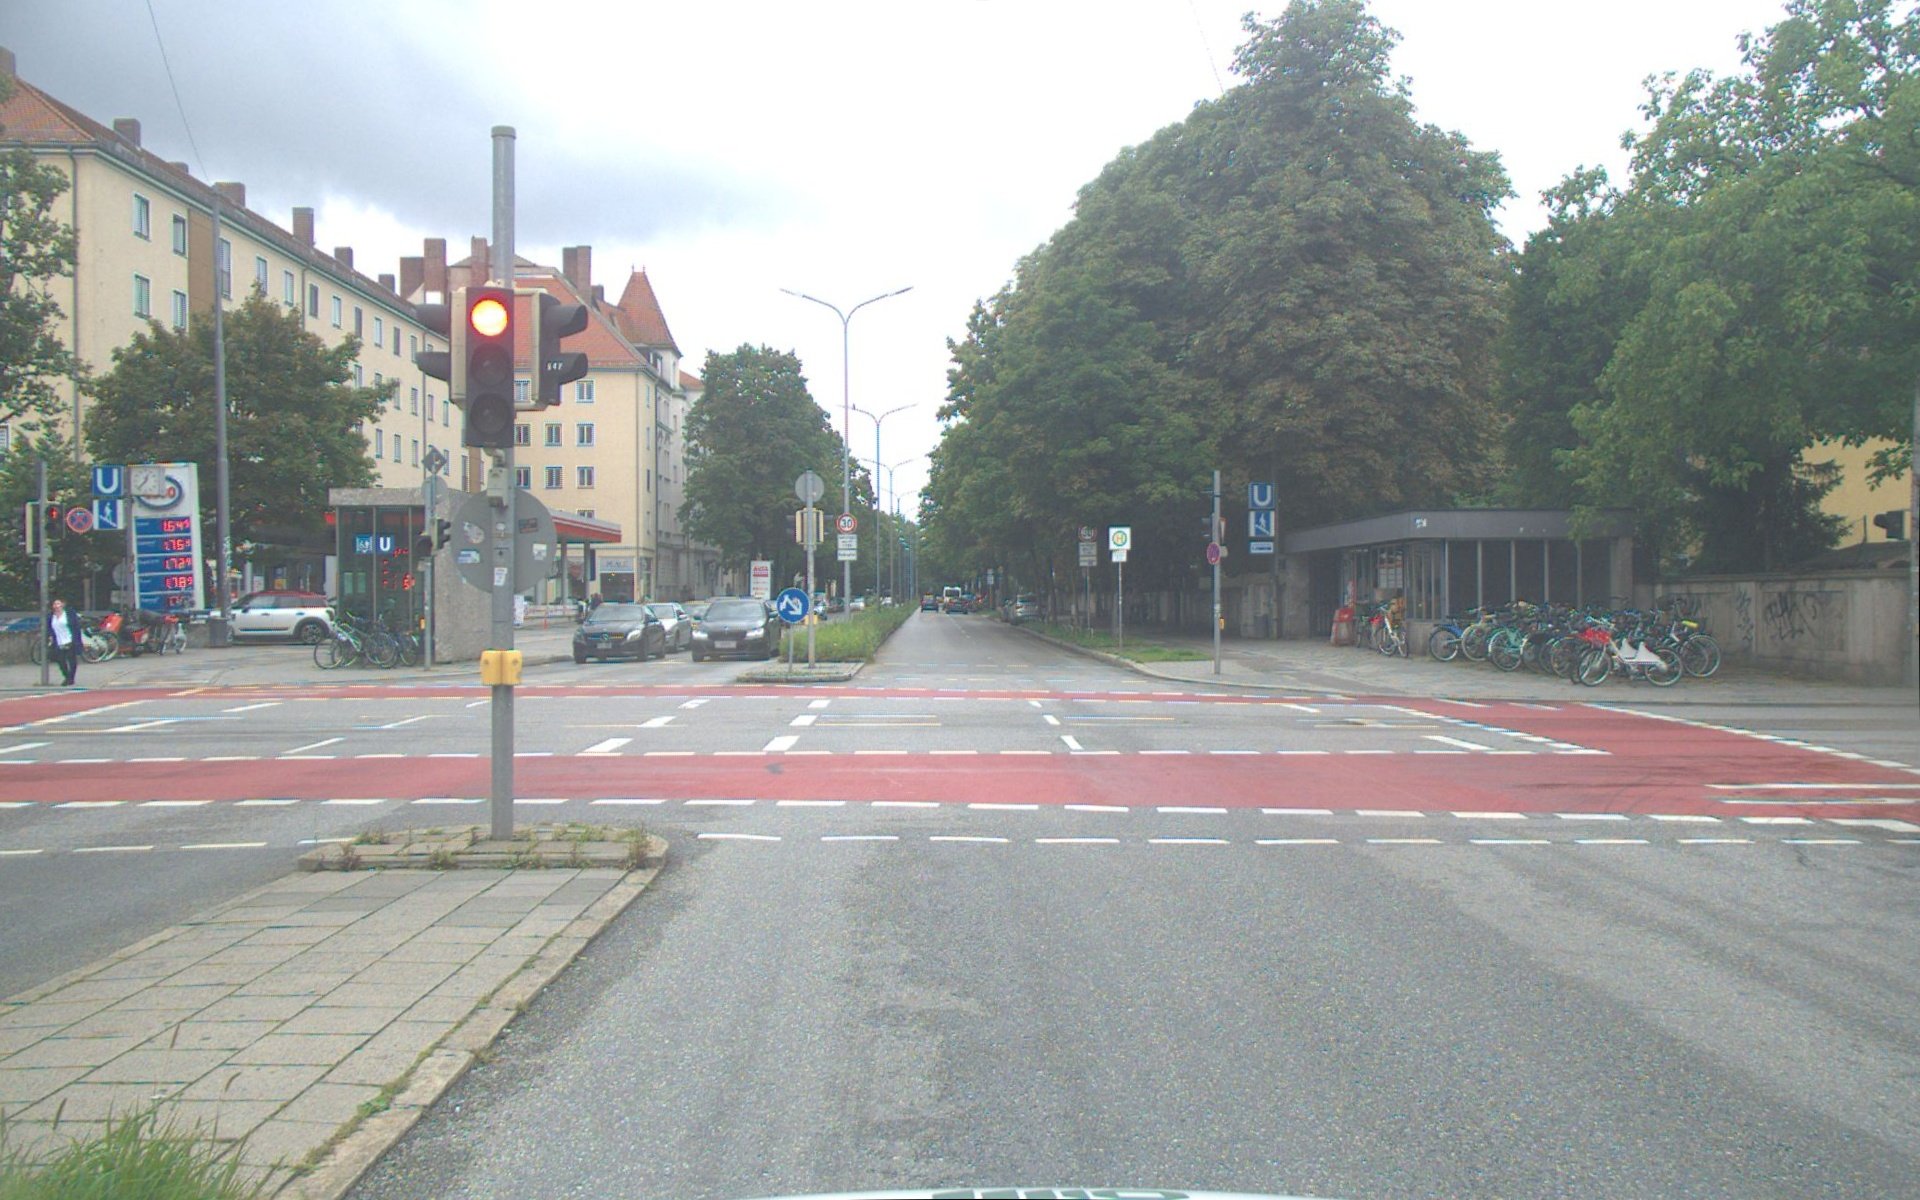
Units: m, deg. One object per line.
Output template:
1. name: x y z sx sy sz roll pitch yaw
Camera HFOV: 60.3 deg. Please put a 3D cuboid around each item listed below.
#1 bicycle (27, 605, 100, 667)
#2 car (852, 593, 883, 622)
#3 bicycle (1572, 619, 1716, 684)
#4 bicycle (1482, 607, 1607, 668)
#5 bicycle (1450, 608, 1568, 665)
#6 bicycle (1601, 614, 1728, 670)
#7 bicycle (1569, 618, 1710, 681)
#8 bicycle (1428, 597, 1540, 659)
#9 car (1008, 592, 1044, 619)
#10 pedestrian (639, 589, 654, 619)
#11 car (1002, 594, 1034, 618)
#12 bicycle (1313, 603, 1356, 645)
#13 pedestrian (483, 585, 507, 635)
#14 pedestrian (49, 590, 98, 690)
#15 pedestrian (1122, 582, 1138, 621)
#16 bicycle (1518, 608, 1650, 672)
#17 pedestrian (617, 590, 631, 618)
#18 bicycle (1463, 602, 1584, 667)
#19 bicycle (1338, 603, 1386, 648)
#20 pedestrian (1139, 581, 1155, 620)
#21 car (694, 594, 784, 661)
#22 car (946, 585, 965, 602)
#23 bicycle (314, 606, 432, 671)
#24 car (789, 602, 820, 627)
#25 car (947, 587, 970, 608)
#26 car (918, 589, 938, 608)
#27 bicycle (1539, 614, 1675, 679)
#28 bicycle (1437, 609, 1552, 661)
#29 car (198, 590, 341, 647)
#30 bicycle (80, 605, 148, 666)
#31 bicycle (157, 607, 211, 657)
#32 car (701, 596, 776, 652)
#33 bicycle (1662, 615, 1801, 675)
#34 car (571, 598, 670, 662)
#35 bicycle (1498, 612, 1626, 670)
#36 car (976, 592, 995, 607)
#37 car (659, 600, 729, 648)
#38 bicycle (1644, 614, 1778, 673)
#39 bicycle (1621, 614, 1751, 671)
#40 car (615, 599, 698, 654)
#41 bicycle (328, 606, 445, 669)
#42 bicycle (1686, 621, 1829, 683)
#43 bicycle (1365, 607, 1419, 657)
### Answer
1. bicycle: -19.052 0.753 35.206 0.596 1.257 2.183 0 0 -7
2. car: -4.773 0.383 85.562 1.438 1.423 3.699 0 0 -1
3. bicycle: 11.225 0.844 27.186 2.097 1.032 0.603 0 0 7
4. bicycle: 10.836 0.700 30.707 2.097 1.105 0.603 0 0 7
5. bicycle: 10.651 0.711 32.143 2.097 1.080 0.603 0 0 7
6. bicycle: 13.315 0.785 31.298 2.097 1.032 0.634 0 0 7
7. bicycle: 11.409 0.830 27.814 2.097 1.032 0.634 0 0 7
8. bicycle: 10.672 0.573 33.741 2.097 1.240 0.603 0 0 7
9. car: 3.570 0.275 89.774 1.708 1.387 3.805 0 0 -1
10. pedestrian: -17.653 0.205 93.057 0.682 1.666 0.738 0 0 -1
11. car: 3.515 0.327 99.960 1.708 1.387 3.805 0 0 -1
12. bicycle: 9.593 0.608 42.396 0.545 1.032 2.014 0 0 -3
13. pedestrian: -19.175 0.422 68.205 0.715 2.049 0.834 1 -1 -1
14. pedestrian: -15.548 0.696 29.007 0.523 1.725 0.577 0 0 1
15. pedestrian: 7.546 0.062 73.433 0.663 1.712 0.683 0 0 5
16. bicycle: 11.029 0.701 29.267 2.097 1.120 0.603 0 0 7
17. pedestrian: -20.180 0.255 99.274 0.682 1.666 0.738 0 0 -1
18. bicycle: 10.694 0.650 31.442 2.097 1.199 0.603 0 0 7
19. bicycle: 9.447 0.585 38.968 0.545 1.032 2.014 0 0 -3
20. pedestrian: 8.327 0.035 73.652 0.663 1.712 0.683 0 0 5
21. car: -5.341 0.631 40.382 1.724 1.519 3.999 0 0 -1
22. car: -0.547 -0.685 179.435 1.953 1.787 3.999 0 0 -2
23. bicycle: -12.295 0.803 34.682 2.225 1.327 0.704 0 0 0
24. car: -9.994 0.922 106.563 1.724 1.519 3.999 0 0 -1
25. car: -0.135 -0.165 140.001 1.883 1.713 3.999 1 0 -1
26. car: -2.974 -0.146 155.008 1.819 1.713 3.999 0 0 -1
27. bicycle: 11.177 0.804 28.615 2.097 1.089 0.603 0 0 7
28. bicycle: 10.663 0.696 33.024 2.097 1.032 0.603 0 0 7
29. car: -20.827 0.538 49.893 3.904 1.637 1.802 -1 0 -25
30. bicycle: -18.422 0.748 36.046 0.596 1.257 2.183 0 0 -7
31. bicycle: -18.835 0.766 40.184 0.596 1.165 1.962 0 0 -7
32. car: -6.383 0.671 48.051 1.724 1.519 3.999 0 0 -1
33. bicycle: 13.486 0.781 28.955 2.097 1.032 0.634 0 0 7
34. car: -8.416 0.714 41.332 1.724 1.486 3.999 0 0 -1
35. bicycle: 10.889 0.737 29.979 2.097 1.032 0.603 0 0 7
36. car: 2.417 -0.051 159.344 1.708 1.452 3.898 0 0 -1
37. car: -8.750 0.769 54.708 1.724 1.486 3.999 0 0 -1
38. bicycle: 13.477 0.786 29.722 2.097 1.032 0.634 0 0 7
39. bicycle: 13.383 0.785 30.514 2.097 1.032 0.634 0 0 7
40. car: -8.737 0.737 47.872 1.724 1.486 3.999 0 0 -1
41. bicycle: -12.286 0.799 35.462 2.238 1.327 0.694 0 0 0
42. bicycle: 13.551 0.882 28.159 2.097 1.032 0.634 0 0 7
43. bicycle: 9.445 0.688 36.234 0.545 1.032 2.014 0 0 -3
